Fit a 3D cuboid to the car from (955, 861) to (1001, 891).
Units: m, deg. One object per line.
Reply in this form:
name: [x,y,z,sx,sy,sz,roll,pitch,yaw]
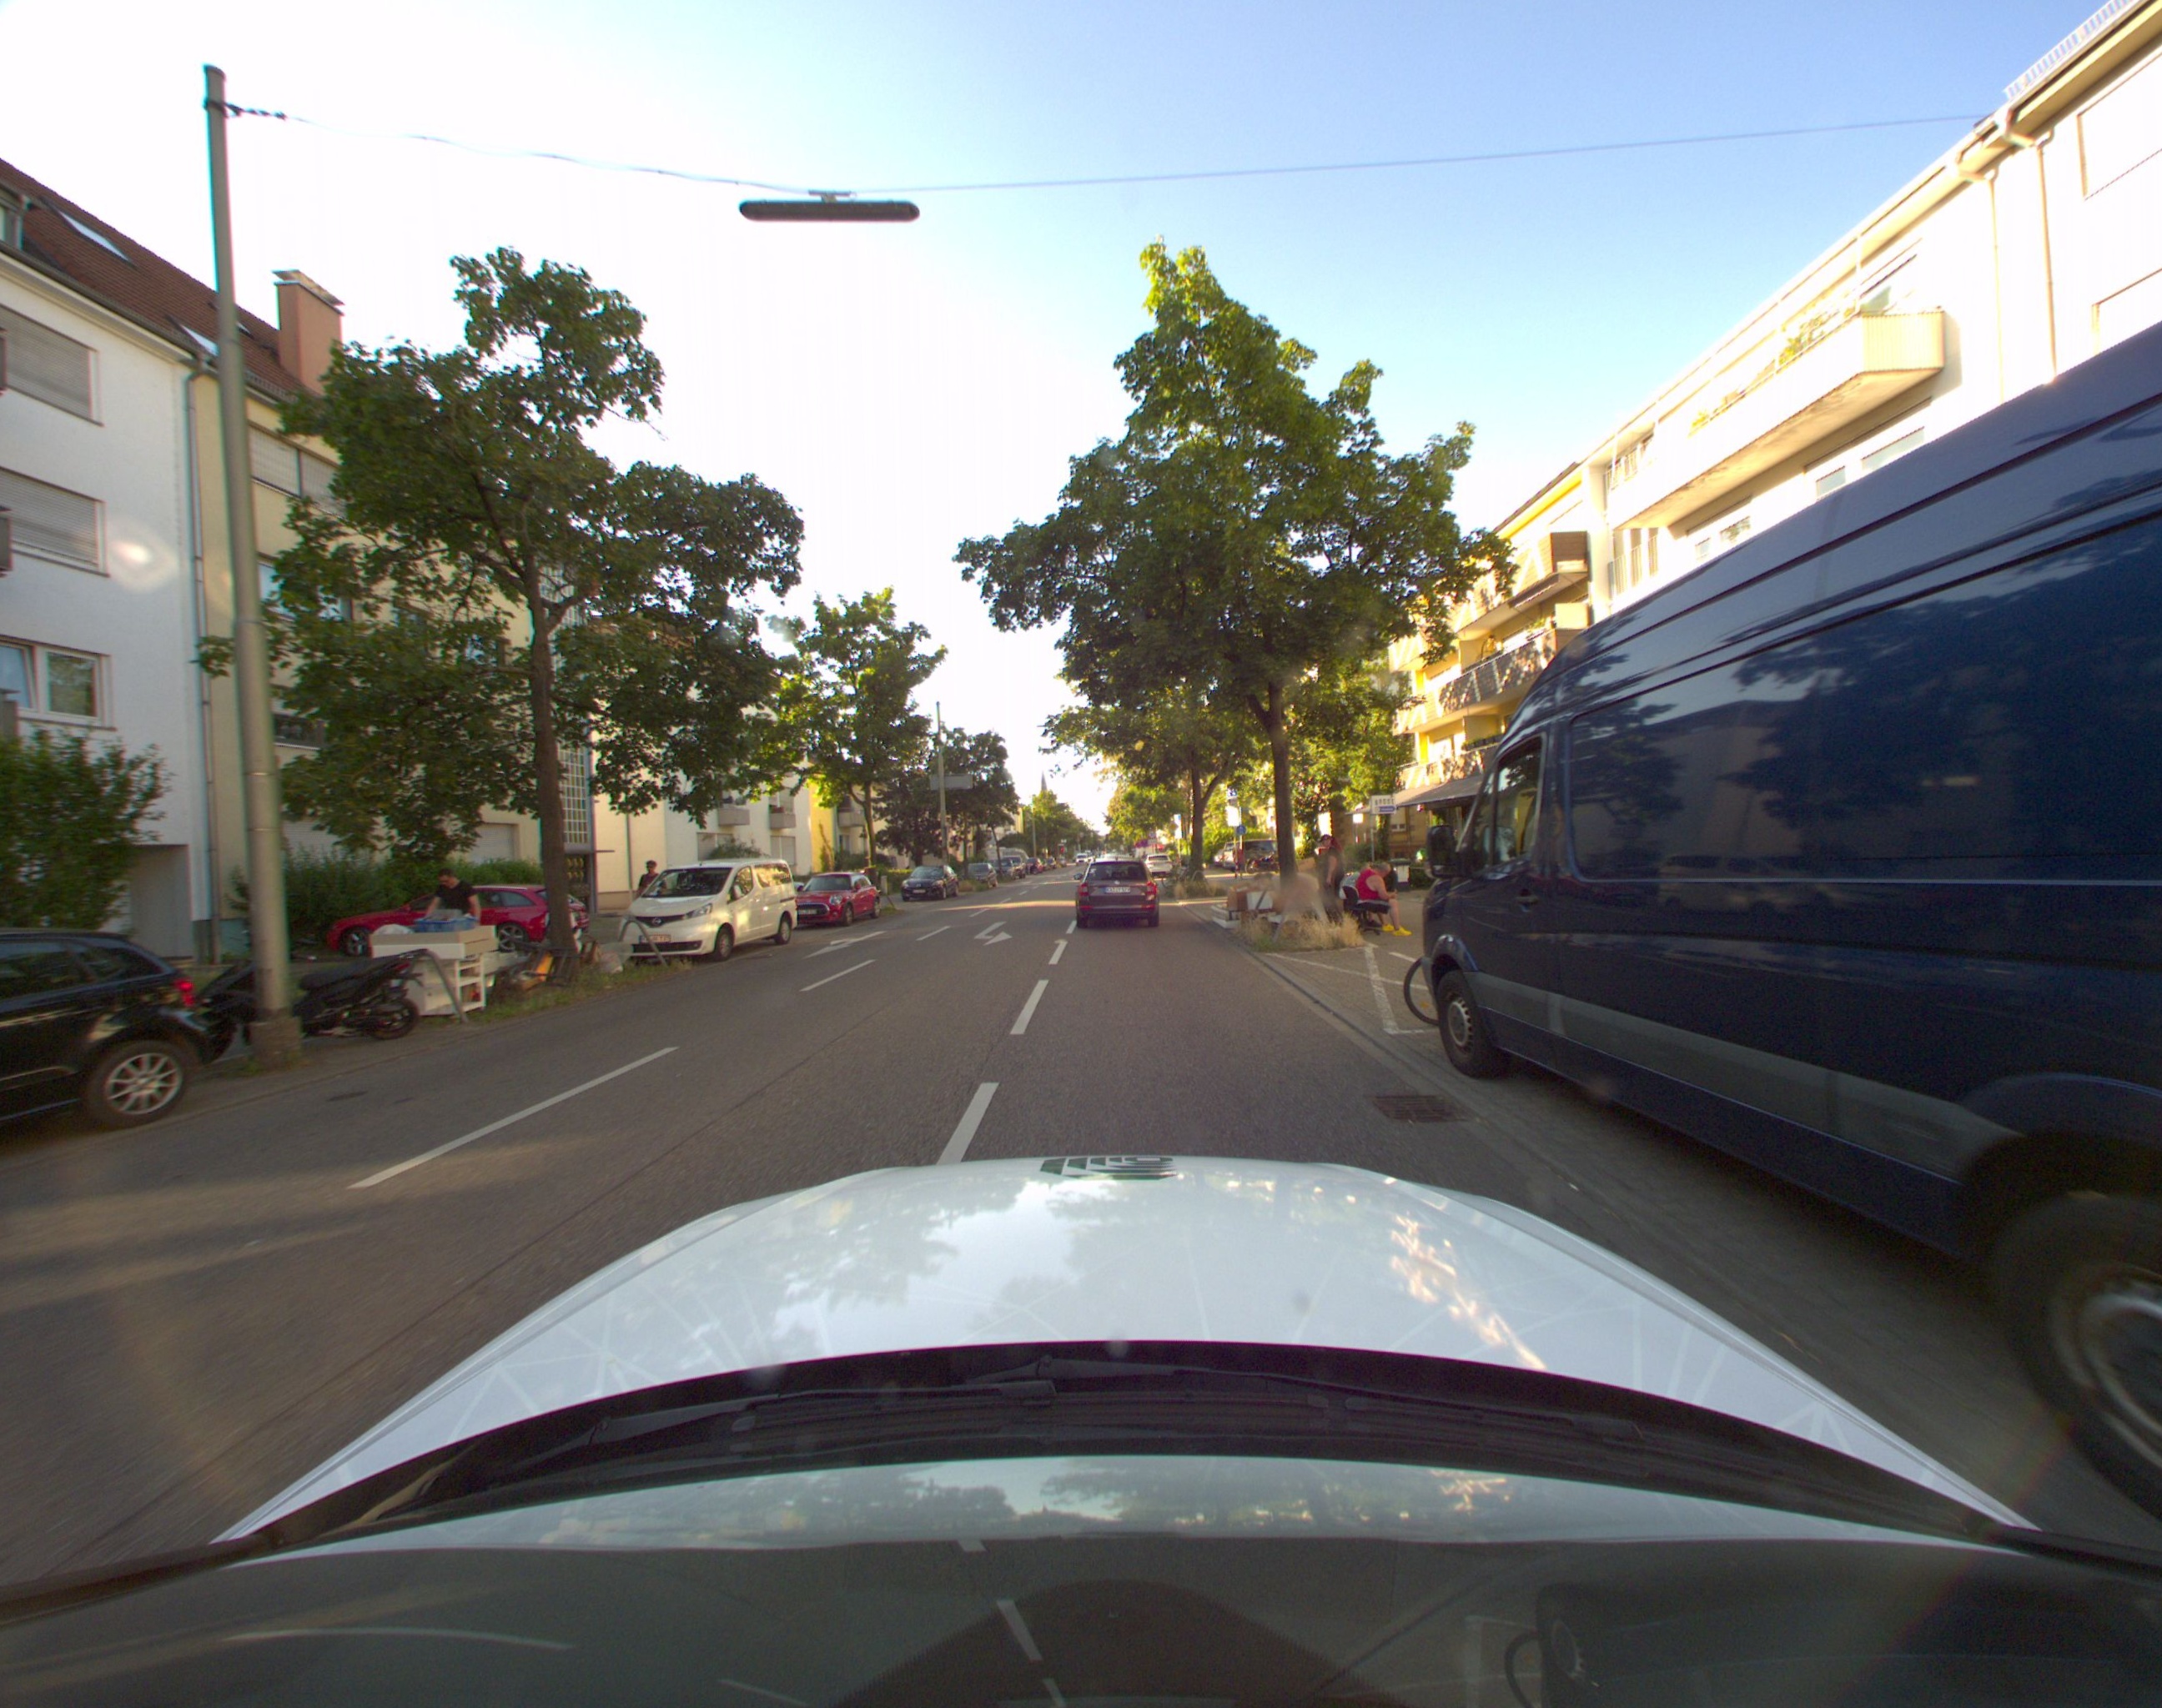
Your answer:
car: [-5.753,1.193,46.071,1.747,1.420,4.429,-3,0,3]

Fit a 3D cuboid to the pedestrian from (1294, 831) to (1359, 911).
pedestrian: [4.773,0.319,15.813,1.065,1.476,0.476,-3,0,-18]

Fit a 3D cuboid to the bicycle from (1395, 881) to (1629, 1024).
bicycle: [3.617,0.824,6.903,1.694,1.089,0.405,-3,0,4]

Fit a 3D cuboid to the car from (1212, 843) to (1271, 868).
car: [11.251,0.101,57.157,3.813,1.525,1.501,-3,0,-20]

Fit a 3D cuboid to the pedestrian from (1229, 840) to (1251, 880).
pedestrian: [7.454,0.266,38.222,0.754,1.796,0.905,-3,0,-3]

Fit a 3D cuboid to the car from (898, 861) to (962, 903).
car: [-6.399,1.144,34.932,1.710,1.497,4.250,-3,0,2]

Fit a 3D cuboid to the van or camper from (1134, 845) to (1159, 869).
van or camper: [5.841,0.233,73.130,1.986,2.013,4.002,-3,0,2]

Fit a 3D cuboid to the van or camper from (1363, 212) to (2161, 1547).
van or camper: [3.268,0.054,3.589,2.060,2.675,5.992,-3,-1,2]

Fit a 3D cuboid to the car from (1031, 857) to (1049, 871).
car: [-4.468,1.093,89.614,1.658,1.432,3.277,-3,0,2]

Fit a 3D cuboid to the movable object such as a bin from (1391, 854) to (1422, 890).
movable object such as a bin: [8.964,0.493,22.447,0.610,0.949,0.540,-3,0,2]

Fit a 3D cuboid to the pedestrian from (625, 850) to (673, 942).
pedestrian: [-9.726,0.927,18.352,0.624,2.013,0.616,-3,0,1]

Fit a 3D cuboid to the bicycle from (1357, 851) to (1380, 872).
bicycle: [13.439,0.361,38.075,0.341,0.950,1.580,-5,0,-3]

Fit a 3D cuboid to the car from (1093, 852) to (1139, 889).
car: [1.547,0.694,36.991,1.725,1.493,3.948,-3,0,-2]

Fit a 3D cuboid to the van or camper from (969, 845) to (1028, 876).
van or camper: [-11.157,0.874,110.790,7.616,3.874,2.000,-3,0,0]

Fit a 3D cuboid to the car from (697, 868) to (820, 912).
car: [-12.553,1.387,31.935,3.976,1.479,1.999,-2,0,-2]

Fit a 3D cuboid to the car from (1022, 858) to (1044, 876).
car: [-4.651,1.253,79.377,1.658,1.511,4.180,-3,0,2]

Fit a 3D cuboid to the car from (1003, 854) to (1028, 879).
car: [-5.131,0.969,64.081,1.501,1.757,3.695,-3,0,2]

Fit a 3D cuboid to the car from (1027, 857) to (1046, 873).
car: [-4.658,1.145,85.071,1.658,1.432,3.277,-3,0,2]

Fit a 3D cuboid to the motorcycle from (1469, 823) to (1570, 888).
motorcycle: [11.831,0.031,22.037,2.182,1.621,0.892,-3,0,8]

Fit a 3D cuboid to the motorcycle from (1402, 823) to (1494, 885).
motorcycle: [10.371,-0.002,23.076,2.182,1.621,0.733,-3,0,8]

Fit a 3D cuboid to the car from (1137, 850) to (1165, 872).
car: [4.930,0.484,57.726,1.813,1.413,4.116,-3,0,4]

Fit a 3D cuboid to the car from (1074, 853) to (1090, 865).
car: [0.227,0.755,123.914,1.867,1.757,4.186,-3,0,7]

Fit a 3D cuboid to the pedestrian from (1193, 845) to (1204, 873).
pedestrian: [7.546,0.318,52.302,0.532,1.794,0.688,-3,0,4]

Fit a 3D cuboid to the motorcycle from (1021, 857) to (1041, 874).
motorcycle: [-4.568,1.079,74.425,0.771,1.511,2.006,-3,0,-41]

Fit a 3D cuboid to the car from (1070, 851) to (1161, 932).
car: [0.787,0.735,17.999,1.722,1.493,3.954,-3,0,3]

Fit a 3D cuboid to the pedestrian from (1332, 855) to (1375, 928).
pedestrian: [4.899,0.671,14.628,0.647,1.254,0.661,-3,0,20]

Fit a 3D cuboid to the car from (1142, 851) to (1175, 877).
car: [4.642,0.560,49.242,1.813,1.413,4.116,-3,0,4]

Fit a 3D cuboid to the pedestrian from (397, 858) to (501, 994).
pedestrian: [-9.970,1.102,12.885,0.764,2.013,0.976,-3,0,1]

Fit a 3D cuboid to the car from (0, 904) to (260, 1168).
car: [-7.527,1.215,4.518,1.743,1.502,3.980,-3,0,2]

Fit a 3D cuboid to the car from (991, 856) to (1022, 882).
car: [-5.401,1.062,59.331,1.743,1.740,3.593,-3,0,2]

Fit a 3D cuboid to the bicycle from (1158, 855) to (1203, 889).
bicycle: [4.087,0.726,33.483,1.658,1.226,0.638,-5,0,14]

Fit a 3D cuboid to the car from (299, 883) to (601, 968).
car: [-13.466,1.474,17.721,4.713,1.362,1.992,-3,0,-11]

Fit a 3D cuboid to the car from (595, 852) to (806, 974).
car: [-7.122,0.983,15.848,1.763,1.919,4.462,-3,0,2]

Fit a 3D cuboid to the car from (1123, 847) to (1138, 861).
car: [6.640,-0.045,108.928,1.724,1.815,3.951,-3,0,1]

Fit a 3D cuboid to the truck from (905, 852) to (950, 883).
truck: [-11.484,0.984,60.932,2.903,2.093,1.546,-3,0,1]

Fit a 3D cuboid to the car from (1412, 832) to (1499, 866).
car: [20.526,-0.274,44.745,3.902,1.585,1.931,-3,0,2]

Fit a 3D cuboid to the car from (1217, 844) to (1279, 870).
car: [11.277,0.193,54.989,3.813,1.525,1.501,-3,0,-20]

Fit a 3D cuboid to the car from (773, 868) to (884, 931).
car: [-6.902,1.201,22.641,1.710,1.421,3.788,-3,0,2]

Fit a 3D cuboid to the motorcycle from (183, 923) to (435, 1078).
motorcycle: [-7.529,1.371,8.024,0.436,1.192,1.718,-3,0,39]

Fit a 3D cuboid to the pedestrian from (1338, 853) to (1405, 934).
pedestrian: [4.768,0.638,13.400,0.795,1.254,0.700,-3,0,-1]

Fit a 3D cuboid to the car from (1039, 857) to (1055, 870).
car: [-4.188,1.152,100.842,1.658,1.432,3.277,-3,0,2]

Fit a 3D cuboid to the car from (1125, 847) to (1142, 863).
car: [6.233,0.077,96.436,1.724,1.815,3.951,-3,0,1]

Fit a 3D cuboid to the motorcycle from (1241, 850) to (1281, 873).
motorcycle: [10.059,0.412,45.475,2.047,1.125,0.525,-3,0,-4]

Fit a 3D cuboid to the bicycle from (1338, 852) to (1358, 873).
bicycle: [12.689,0.397,38.680,0.341,0.950,1.580,0,0,-3]

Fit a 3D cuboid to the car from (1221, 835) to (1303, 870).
car: [10.887,-0.086,49.039,4.557,1.892,1.898,-3,0,-26]
